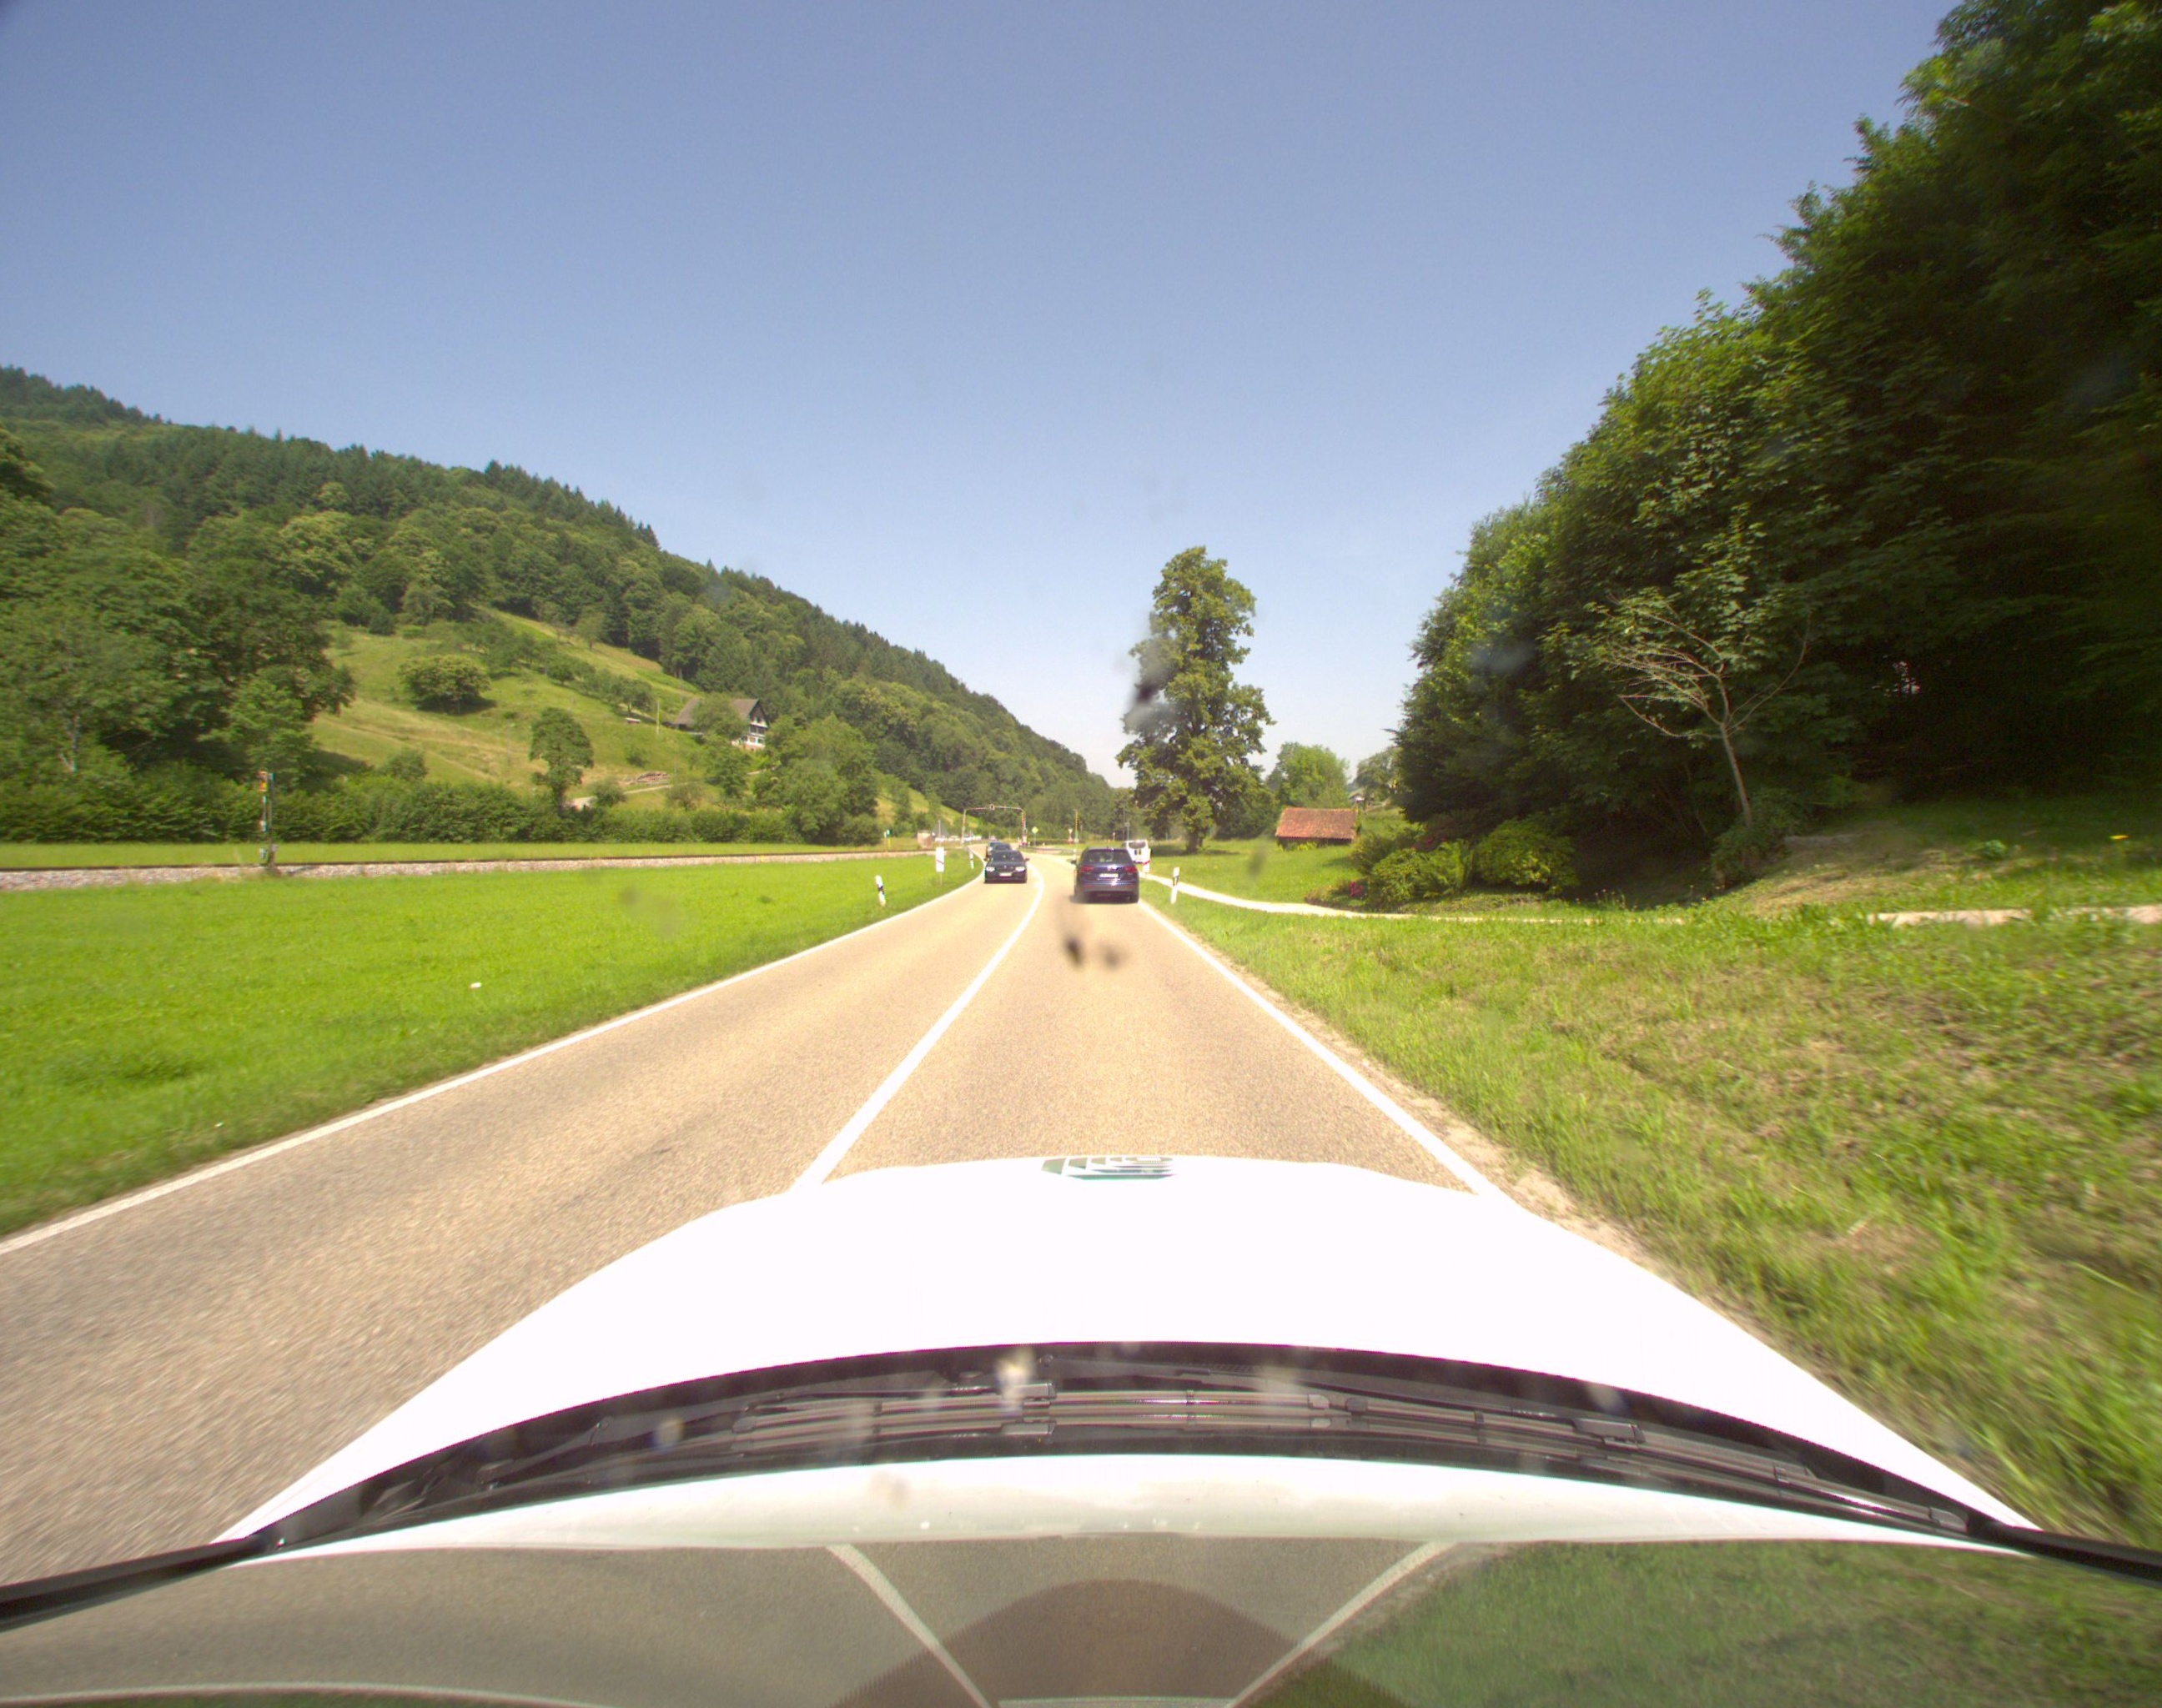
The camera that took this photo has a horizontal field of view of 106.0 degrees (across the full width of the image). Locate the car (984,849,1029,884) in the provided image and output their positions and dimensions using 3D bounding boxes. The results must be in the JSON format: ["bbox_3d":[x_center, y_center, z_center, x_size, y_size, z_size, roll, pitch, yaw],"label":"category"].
[{"bbox_3d":[-3.407,0.538,37.378,1.913,1.470,4.503,0,1,-5],"label":"car"}]

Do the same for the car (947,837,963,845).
[{"bbox_3d":[-25.849,-2.650,167.572,1.983,1.641,4.910,0,1,6],"label":"car"}]

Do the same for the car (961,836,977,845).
[{"bbox_3d":[-23.007,-2.690,167.762,1.860,1.782,4.785,1,1,9],"label":"car"}]

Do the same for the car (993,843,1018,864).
[{"bbox_3d":[-6.171,-0.077,66.884,1.862,1.623,4.505,0,1,-4],"label":"car"}]

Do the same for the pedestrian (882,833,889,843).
[{"bbox_3d":[-39.128,-3.143,162.863,1.116,1.969,0.866,0,1,21],"label":"pedestrian"}]

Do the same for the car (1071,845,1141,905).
[{"bbox_3d":[0.684,0.589,24.835,1.848,1.649,4.137,-1,0,-2],"label":"car"}]

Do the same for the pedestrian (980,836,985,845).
[{"bbox_3d":[-19.516,-2.649,161.158,0.641,1.858,0.776,0,1,39],"label":"pedestrian"}]

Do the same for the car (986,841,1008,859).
[{"bbox_3d":[-8.329,-0.394,80.471,1.916,1.714,4.144,0,1,-11],"label":"car"}]

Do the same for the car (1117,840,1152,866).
[{"bbox_3d":[4.248,-0.153,65.125,1.996,1.848,4.861,-4,1,-4],"label":"car"}]

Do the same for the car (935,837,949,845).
[{"bbox_3d":[-28.543,-2.642,167.332,1.985,1.500,4.527,0,1,4],"label":"car"}]

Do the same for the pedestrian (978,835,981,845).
[{"bbox_3d":[-19.970,-2.677,160.496,0.659,1.954,0.532,0,1,-4],"label":"pedestrian"}]

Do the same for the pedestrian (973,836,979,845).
[{"bbox_3d":[-20.797,-2.590,161.072,0.761,1.796,0.799,0,1,32],"label":"pedestrian"}]

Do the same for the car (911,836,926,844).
[{"bbox_3d":[-33.489,-2.865,168.078,1.985,1.500,4.527,0,1,4],"label":"car"}]
